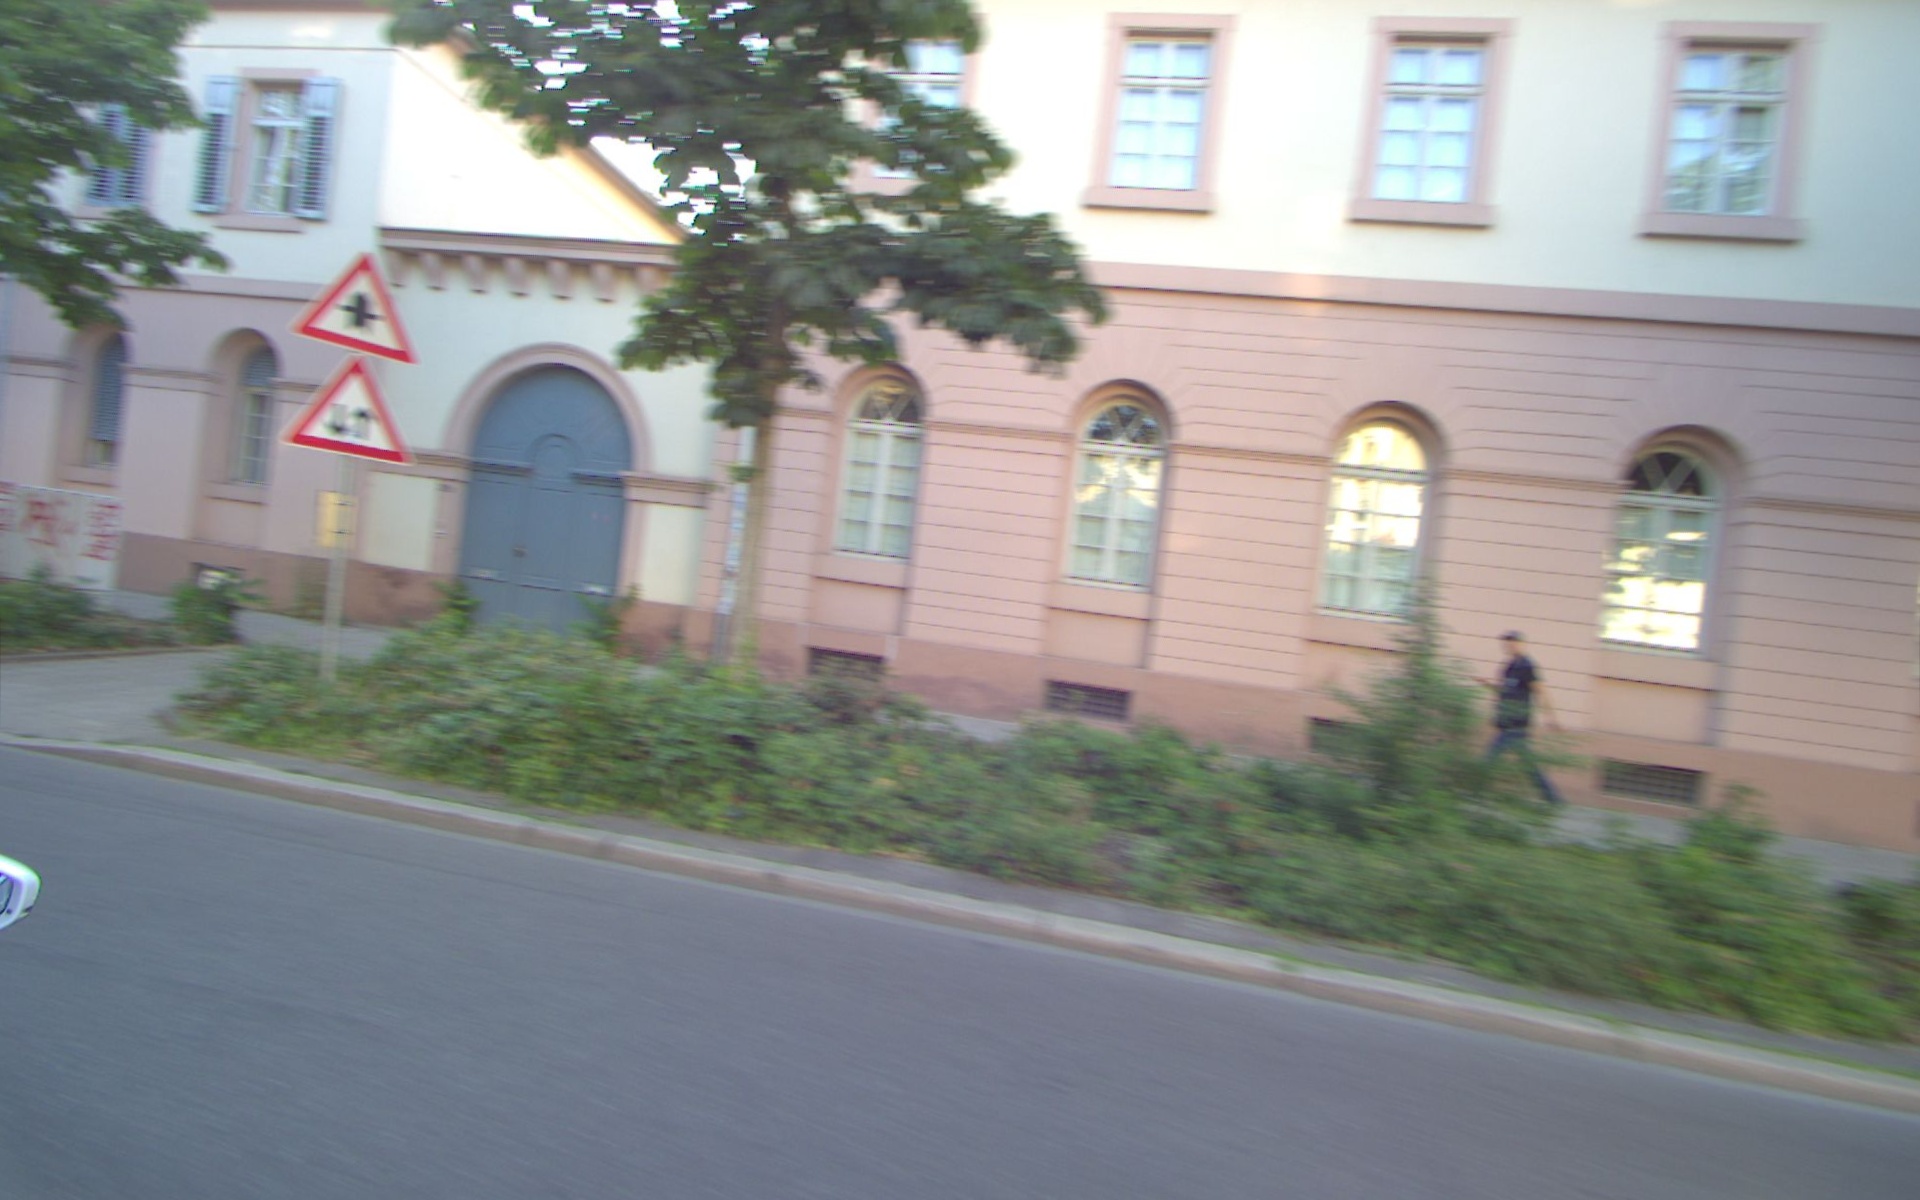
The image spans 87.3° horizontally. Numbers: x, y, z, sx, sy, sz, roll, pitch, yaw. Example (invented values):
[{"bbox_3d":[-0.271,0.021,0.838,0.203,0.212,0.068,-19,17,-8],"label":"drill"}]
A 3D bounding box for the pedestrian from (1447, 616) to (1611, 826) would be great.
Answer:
[{"bbox_3d":[5.628,1.157,10.036,1.062,1.863,0.800,8,3,19],"label":"pedestrian"}]
